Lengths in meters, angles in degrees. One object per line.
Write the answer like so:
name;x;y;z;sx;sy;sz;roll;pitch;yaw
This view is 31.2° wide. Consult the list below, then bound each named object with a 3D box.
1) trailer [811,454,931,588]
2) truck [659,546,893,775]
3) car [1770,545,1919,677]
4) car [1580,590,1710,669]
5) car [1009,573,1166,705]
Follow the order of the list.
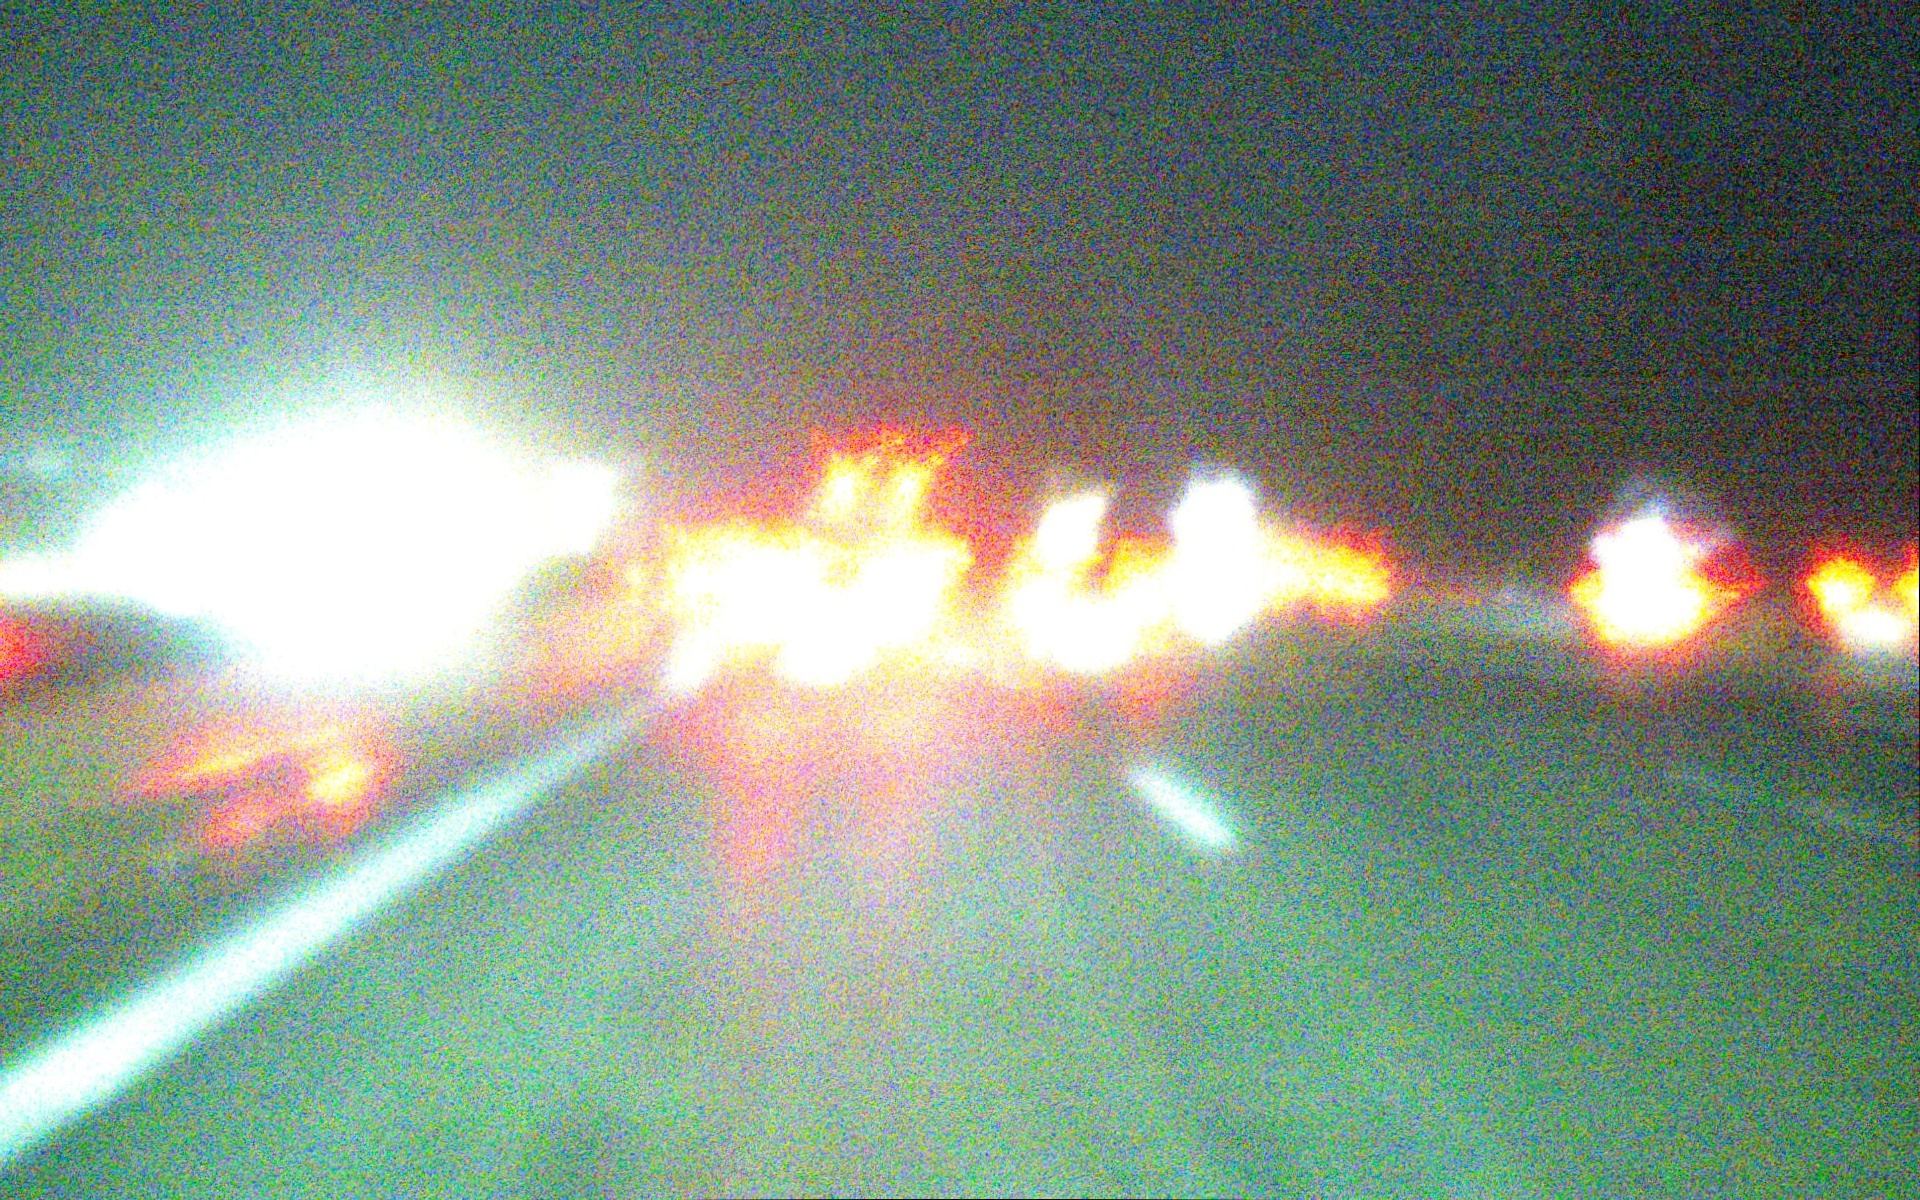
trailer;-3.308;-2.693;123.318;2.738;4.234;13.373;4;-1;-7
truck;-1.980;0.536;36.495;2.145;2.070;6.605;3;1;-4
car;14.848;0.147;56.688;2.233;2.006;4.000;2;1;4
car;15.659;0.659;78.783;1.993;1.595;4.000;3;1;-1
car;1.642;0.478;45.658;1.800;1.612;4.257;0;1;-2
